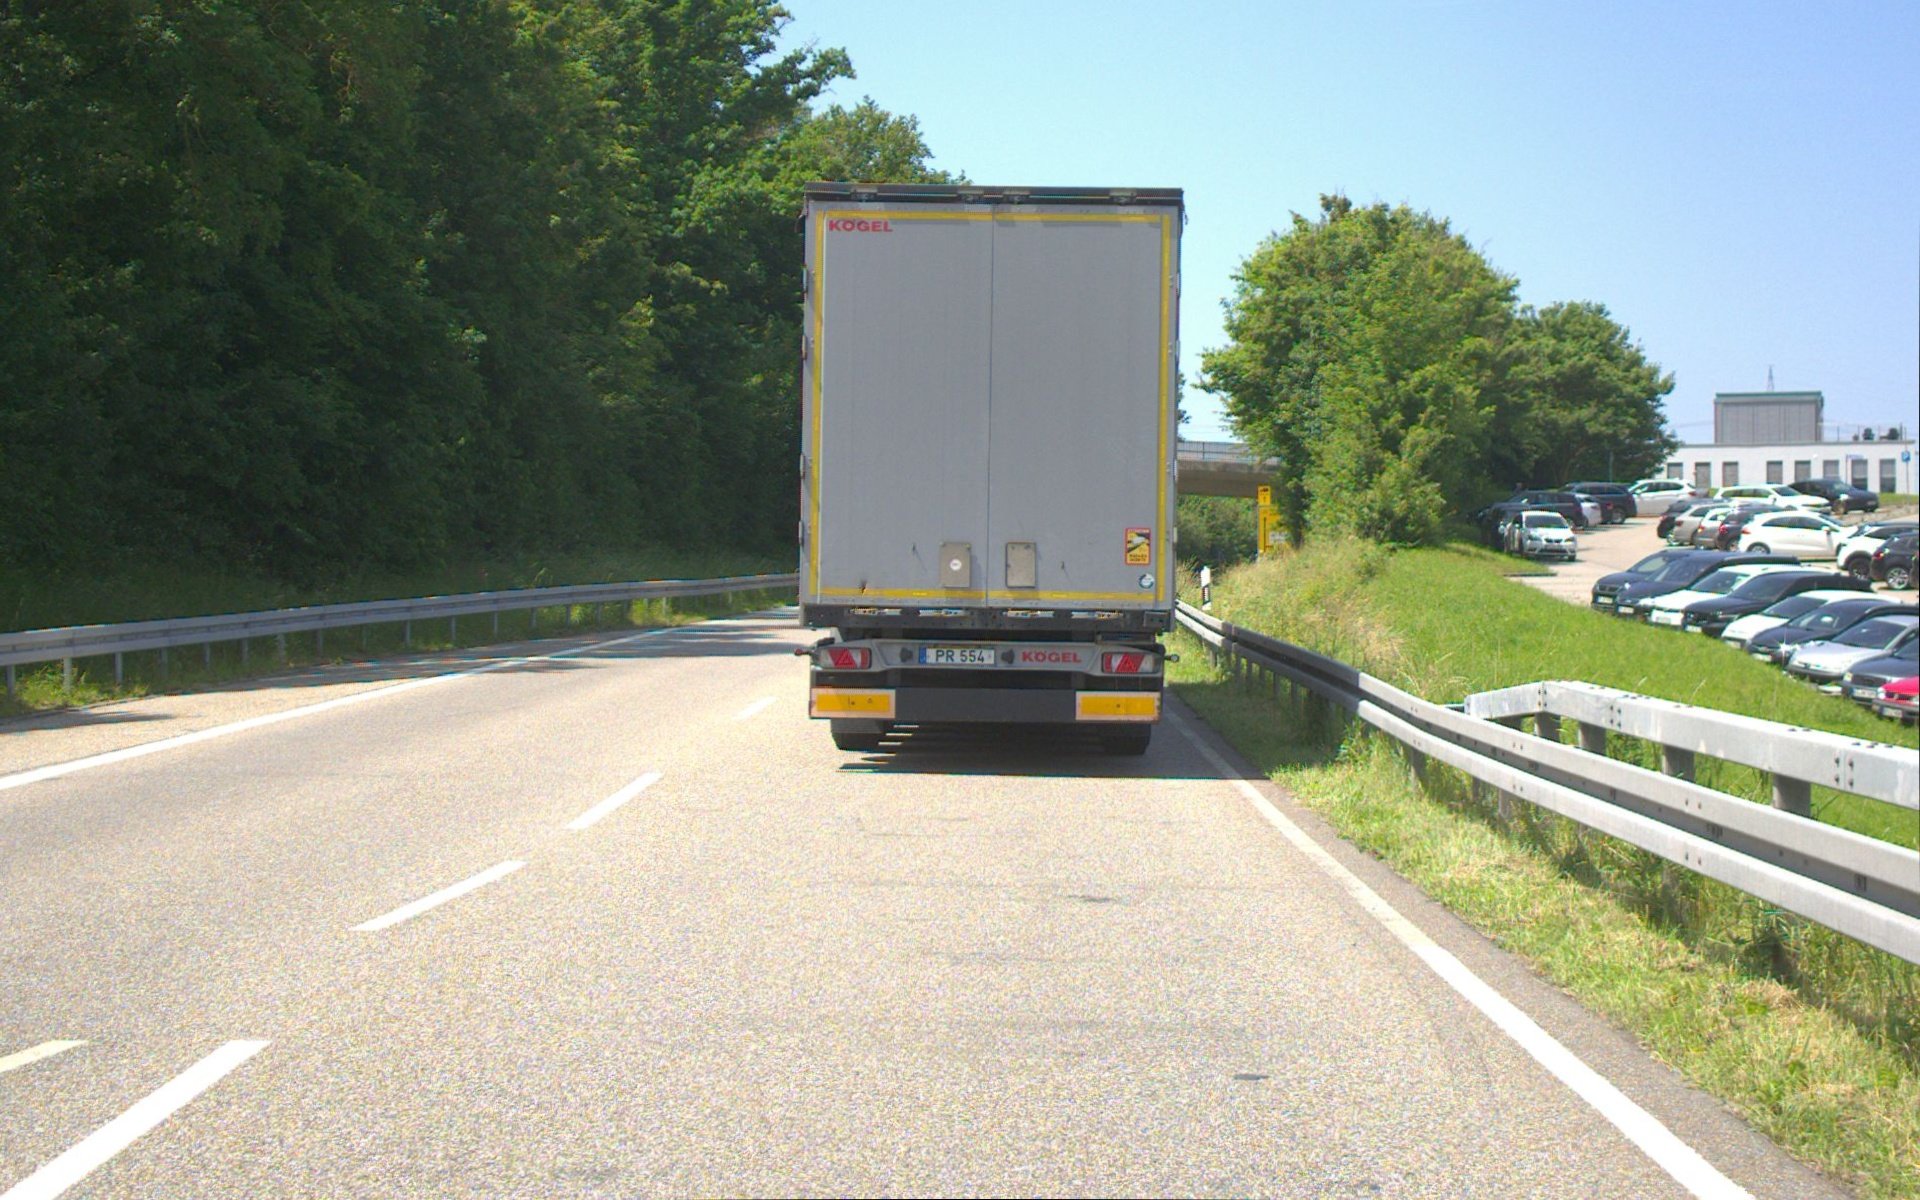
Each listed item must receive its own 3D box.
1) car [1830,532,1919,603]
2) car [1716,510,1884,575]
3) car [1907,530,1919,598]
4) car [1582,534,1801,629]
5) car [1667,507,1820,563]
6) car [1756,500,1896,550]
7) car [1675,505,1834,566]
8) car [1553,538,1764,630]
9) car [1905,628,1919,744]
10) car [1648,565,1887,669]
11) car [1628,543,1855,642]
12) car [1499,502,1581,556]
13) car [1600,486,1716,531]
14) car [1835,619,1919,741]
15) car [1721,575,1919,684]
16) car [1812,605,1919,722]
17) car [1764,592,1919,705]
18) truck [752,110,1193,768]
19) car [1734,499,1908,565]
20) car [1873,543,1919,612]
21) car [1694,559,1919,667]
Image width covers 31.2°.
[{"bbox_3d":[25.518,-0.729,90.561,4.580,1.623,1.818,7,4,28],"label":"car"},{"bbox_3d":[25.057,-1.715,102.557,4.577,1.623,1.818,5,3,22],"label":"car"},{"bbox_3d":[25.727,-0.651,83.951,4.580,1.623,1.818,7,4,28],"label":"car"},{"bbox_3d":[16.141,-0.408,75.843,4.362,1.679,1.889,4,4,-27],"label":"car"},{"bbox_3d":[25.498,-2.117,111.877,4.577,1.623,1.818,3,0,22],"label":"car"},{"bbox_3d":[32.070,-2.776,127.363,4.581,1.623,1.817,4,1,36],"label":"car"},{"bbox_3d":[25.189,-2.060,109.027,4.577,1.623,1.818,5,3,22],"label":"car"},{"bbox_3d":[16.031,-0.360,78.886,4.362,1.679,1.889,4,4,-27],"label":"car"},{"bbox_3d":[16.398,1.486,50.585,4.451,1.679,1.886,7,4,23],"label":"car"},{"bbox_3d":[16.348,0.340,69.559,4.362,1.679,1.889,4,4,-27],"label":"car"},{"bbox_3d":[16.611,-0.164,73.046,4.362,1.679,1.889,4,4,-27],"label":"car"},{"bbox_3d":[17.618,-2.180,104.565,1.624,1.349,3.711,5,3,-2],"label":"car"},{"bbox_3d":[28.852,-3.790,142.110,4.362,1.679,1.889,0,5,-27],"label":"car"},{"bbox_3d":[16.245,1.367,54.056,4.361,1.679,1.889,4,3,-20],"label":"car"},{"bbox_3d":[16.339,0.573,63.453,4.363,1.679,1.888,3,4,-35],"label":"car"},{"bbox_3d":[16.446,1.110,57.120,4.363,1.679,1.888,3,4,-35],"label":"car"},{"bbox_3d":[16.380,0.893,60.236,4.363,1.679,1.888,3,4,-35],"label":"car"},{"bbox_3d":[0.154,-1.168,27.870,2.866,4.344,9.789,1,1,1],"label":"truck"},{"bbox_3d":[24.987,-1.980,99.777,4.577,1.623,1.818,4,2,22],"label":"car"},{"bbox_3d":[25.679,-0.402,86.956,4.580,1.623,1.818,7,4,28],"label":"car"},{"bbox_3d":[16.682,0.265,66.793,4.362,1.679,1.889,4,4,-27],"label":"car"}]
